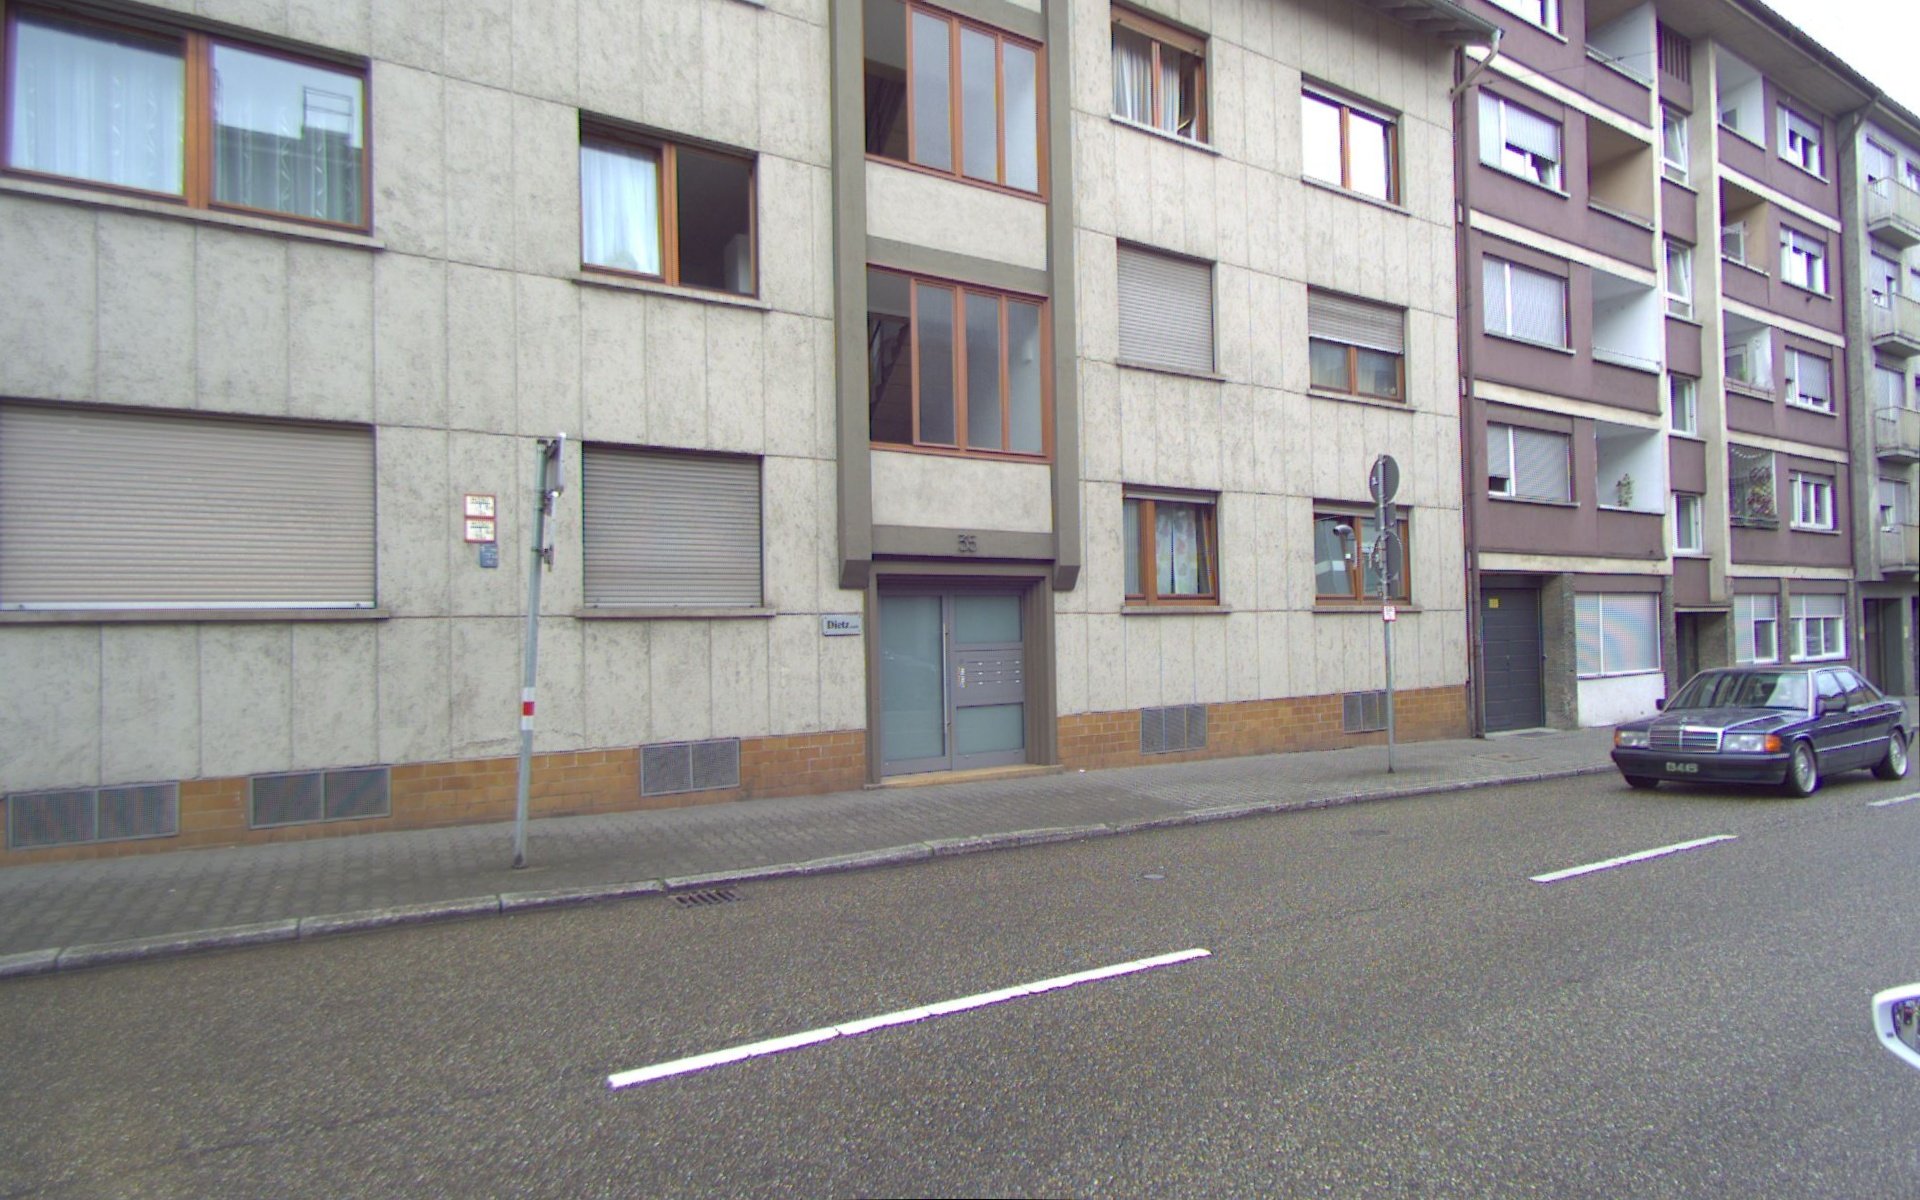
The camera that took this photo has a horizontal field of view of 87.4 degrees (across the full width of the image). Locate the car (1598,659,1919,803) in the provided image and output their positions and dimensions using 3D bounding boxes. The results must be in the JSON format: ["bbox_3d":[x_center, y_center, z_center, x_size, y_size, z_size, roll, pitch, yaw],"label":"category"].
[{"bbox_3d":[9.461,1.419,11.751,4.313,1.388,1.591,2,-5,-31],"label":"car"}]
